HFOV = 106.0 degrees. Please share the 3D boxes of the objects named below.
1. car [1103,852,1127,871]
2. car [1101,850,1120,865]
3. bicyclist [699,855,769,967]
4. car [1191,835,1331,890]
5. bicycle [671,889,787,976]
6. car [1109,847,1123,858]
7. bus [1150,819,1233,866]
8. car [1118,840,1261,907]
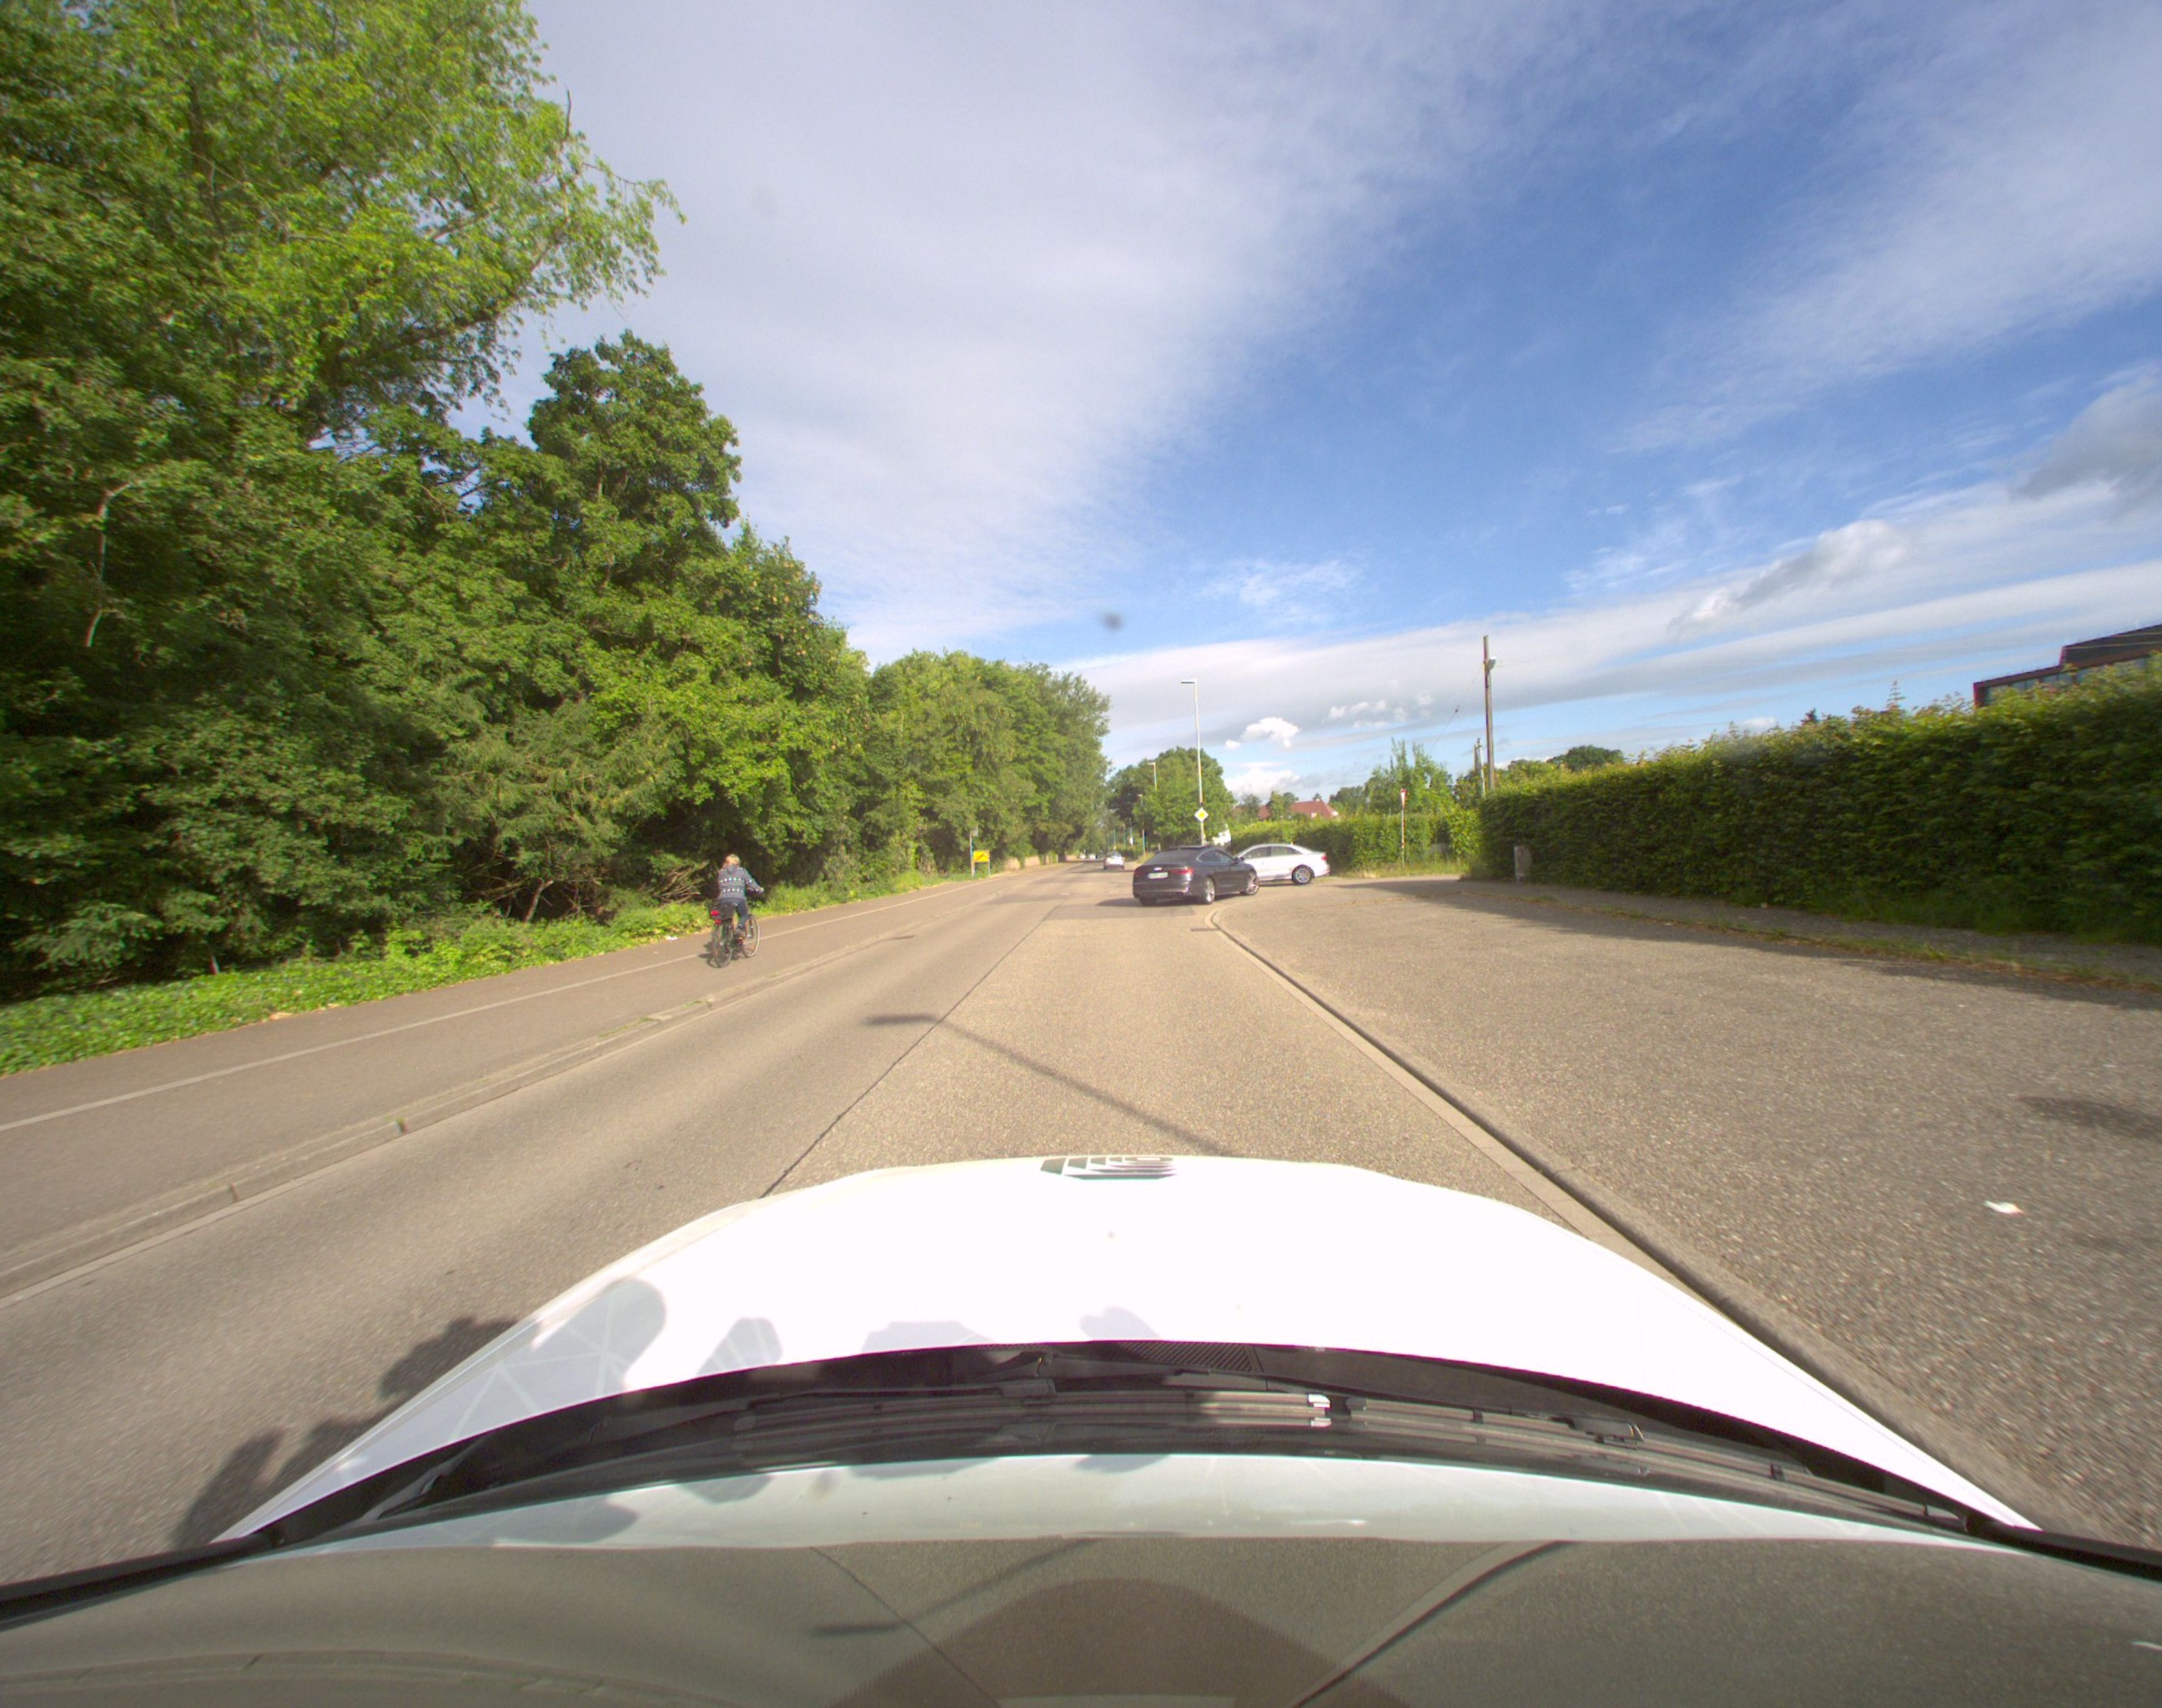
[{"bbox_3d":[2.771,0.618,67.702,1.880,1.372,4.056,-4,0,1],"label":"car"},{"bbox_3d":[3.225,0.379,89.375,1.880,1.464,4.056,-4,0,1],"label":"car"},{"bbox_3d":[-5.451,0.872,12.835,0.606,1.676,0.884,-2,0,2],"label":"bicyclist"},{"bbox_3d":[5.921,0.274,27.218,4.337,1.443,1.937,-5,0,8],"label":"car"},{"bbox_3d":[-5.435,1.167,12.781,0.660,1.097,2.350,-2,1,3],"label":"bicycle"},{"bbox_3d":[5.075,-0.237,118.378,1.880,1.372,4.056,-4,0,1],"label":"car"},{"bbox_3d":[7.688,-0.802,56.990,5.350,2.746,2.068,-5,1,-1],"label":"bus"},{"bbox_3d":[2.897,0.439,20.826,1.947,1.434,4.364,-2,1,32],"label":"car"}]
